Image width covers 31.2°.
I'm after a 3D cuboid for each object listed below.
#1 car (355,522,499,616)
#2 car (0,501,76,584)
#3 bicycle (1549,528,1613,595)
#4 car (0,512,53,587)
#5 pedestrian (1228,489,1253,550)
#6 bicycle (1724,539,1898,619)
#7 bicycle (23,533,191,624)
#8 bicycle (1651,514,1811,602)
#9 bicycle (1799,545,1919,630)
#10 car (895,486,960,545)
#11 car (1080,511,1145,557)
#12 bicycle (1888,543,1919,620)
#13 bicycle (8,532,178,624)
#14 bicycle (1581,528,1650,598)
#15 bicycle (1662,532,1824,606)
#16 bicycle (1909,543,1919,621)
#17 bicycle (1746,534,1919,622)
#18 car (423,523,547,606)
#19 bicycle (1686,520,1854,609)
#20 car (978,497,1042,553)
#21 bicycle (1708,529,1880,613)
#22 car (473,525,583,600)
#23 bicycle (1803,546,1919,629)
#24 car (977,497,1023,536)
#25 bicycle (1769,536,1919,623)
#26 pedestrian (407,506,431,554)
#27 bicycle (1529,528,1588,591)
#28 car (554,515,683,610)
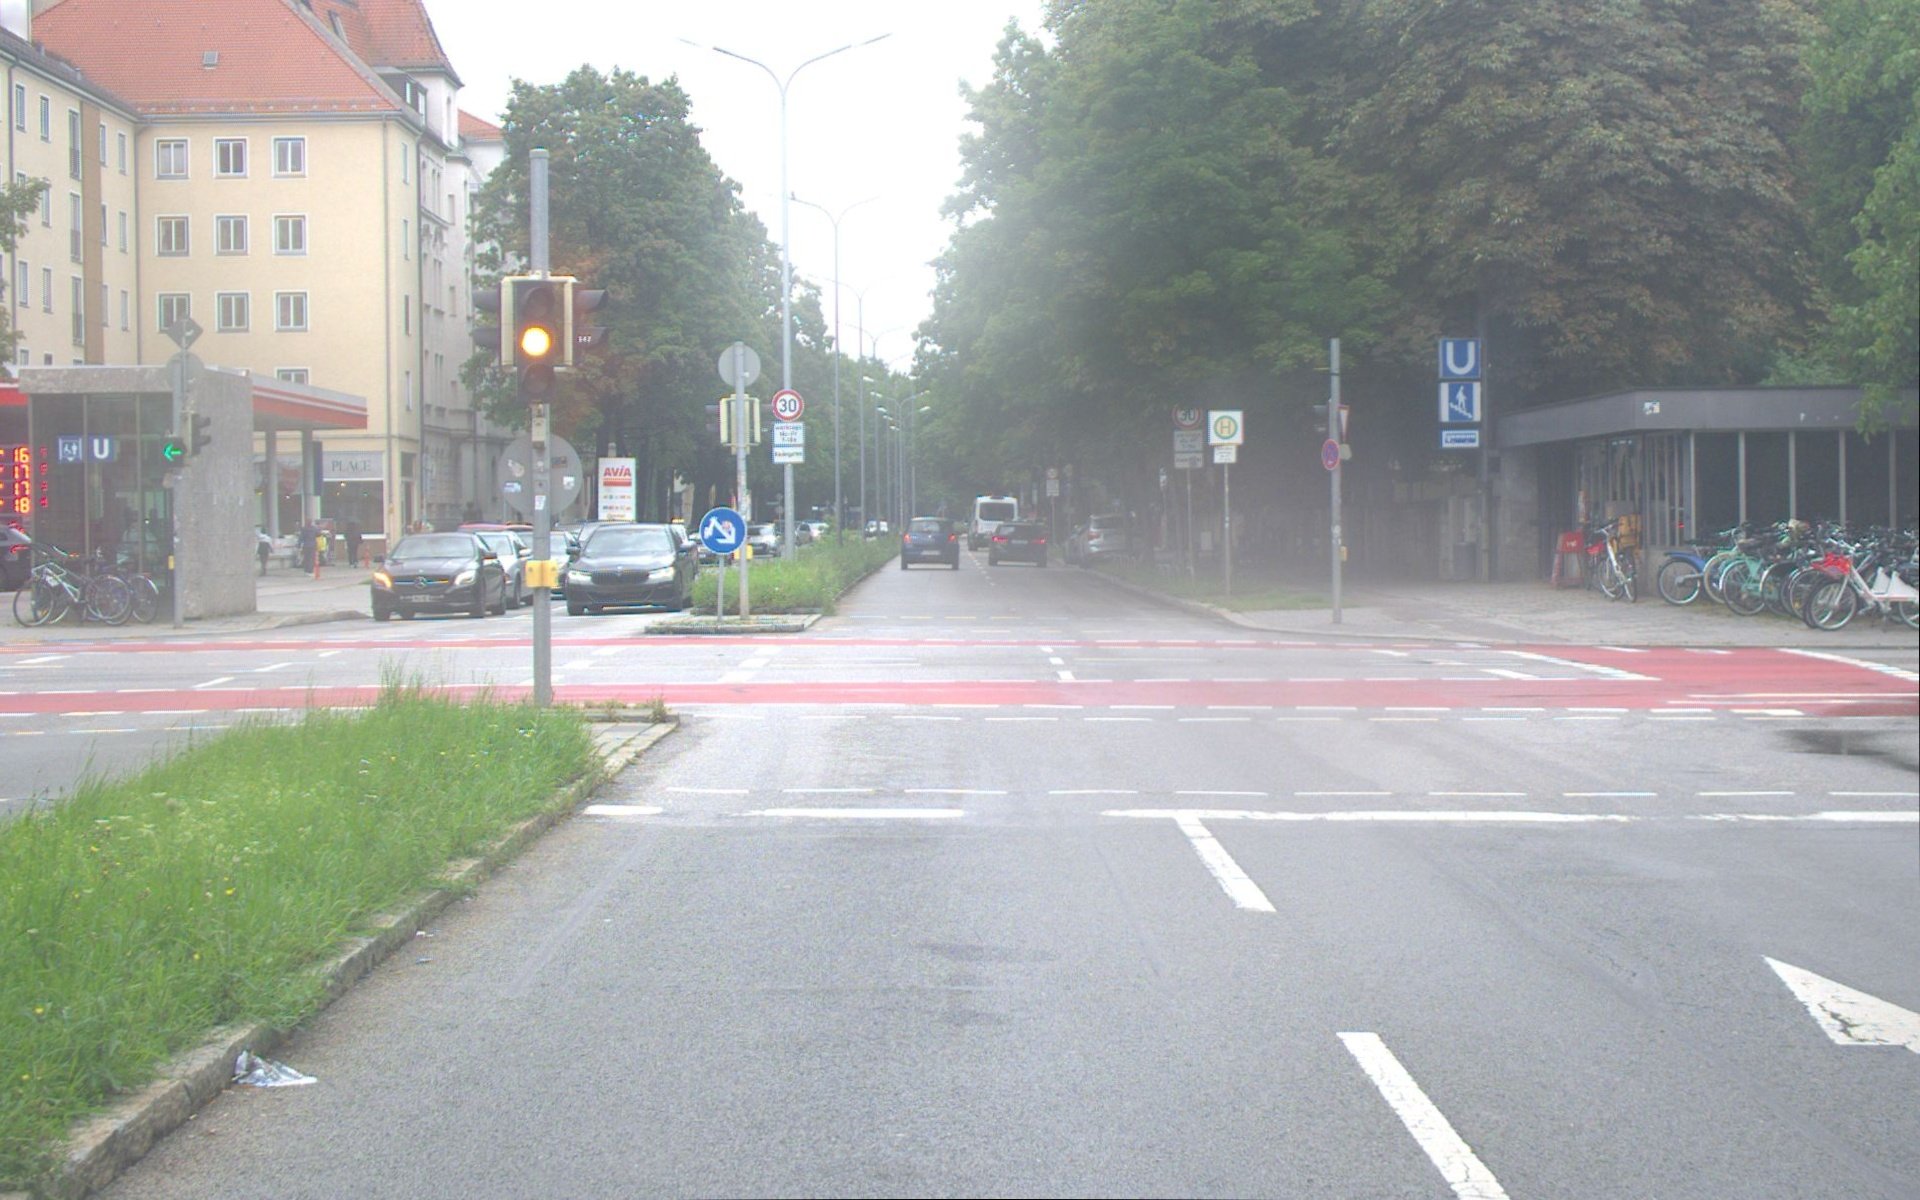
[{"bbox_3d":[-8.701,-0.540,56.401,1.760,1.455,4.000,0,2,0],"label":"car"},{"bbox_3d":[-22.034,-1.287,77.015,3.986,1.831,1.881,0,1,-3],"label":"car"},{"bbox_3d":[9.674,-0.615,53.595,0.556,1.011,2.016,0,1,-2],"label":"bicycle"},{"bbox_3d":[-26.694,-1.369,92.747,3.986,2.007,1.891,0,1,-4],"label":"car"},{"bbox_3d":[7.751,-2.218,94.949,0.678,1.677,0.682,0,1,6],"label":"pedestrian"},{"bbox_3d":[11.021,-0.274,44.573,2.144,1.011,0.603,0,1,8],"label":"bicycle"},{"bbox_3d":[-12.556,-0.319,50.660,2.285,1.300,0.694,0,1,1],"label":"bicycle"},{"bbox_3d":[10.829,-0.588,48.338,2.144,1.214,0.603,0,1,8],"label":"bicycle"},{"bbox_3d":[11.325,-0.157,41.774,2.144,1.011,0.603,0,1,8],"label":"bicycle"},{"bbox_3d":[-0.944,-2.462,99.857,1.857,1.678,4.000,0,2,0],"label":"car"},{"bbox_3d":[4.614,-2.024,104.309,1.743,1.358,3.807,0,2,0],"label":"car"},{"bbox_3d":[13.516,-0.255,45.831,2.144,1.011,0.634,0,1,8],"label":"bicycle"},{"bbox_3d":[-12.577,-0.326,49.880,2.271,1.300,0.704,0,1,1],"label":"bicycle"},{"bbox_3d":[9.689,-0.557,50.864,0.556,1.011,2.016,0,1,-2],"label":"bicycle"},{"bbox_3d":[10.833,-0.428,47.622,2.144,1.011,0.603,0,1,8],"label":"bicycle"},{"bbox_3d":[13.574,-0.239,45.045,2.144,1.011,0.634,0,1,8],"label":"bicycle"},{"bbox_3d":[11.154,-0.285,43.857,2.144,1.097,0.603,0,1,8],"label":"bicycle"},{"bbox_3d":[-8.739,-0.673,63.492,1.760,1.455,4.000,0,2,0],"label":"car"},{"bbox_3d":[10.842,-0.474,46.038,2.144,1.174,0.603,0,1,8],"label":"bicycle"},{"bbox_3d":[1.577,-2.369,109.017,1.923,1.678,4.000,1,1,0],"label":"car"},{"bbox_3d":[10.977,-0.384,45.301,2.144,1.082,0.603,0,1,8],"label":"bicycle"},{"bbox_3d":[-8.830,-0.793,70.491,1.760,1.455,4.000,0,2,0],"label":"car"},{"bbox_3d":[11.522,-0.160,42.397,2.144,1.011,0.634,0,1,8],"label":"bicycle"},{"bbox_3d":[1.816,-3.867,158.299,1.993,1.750,4.000,0,2,-1],"label":"car"},{"bbox_3d":[11.295,-0.261,43.202,2.144,1.067,0.603,0,1,8],"label":"bicycle"},{"bbox_3d":[-18.166,-2.352,115.461,0.696,1.632,0.738,0,1,0],"label":"pedestrian"},{"bbox_3d":[9.898,-0.676,56.904,0.556,1.011,2.016,0,1,-2],"label":"bicycle"},{"bbox_3d":[-5.595,-0.639,56.713,1.760,1.488,4.000,0,2,0],"label":"car"}]
